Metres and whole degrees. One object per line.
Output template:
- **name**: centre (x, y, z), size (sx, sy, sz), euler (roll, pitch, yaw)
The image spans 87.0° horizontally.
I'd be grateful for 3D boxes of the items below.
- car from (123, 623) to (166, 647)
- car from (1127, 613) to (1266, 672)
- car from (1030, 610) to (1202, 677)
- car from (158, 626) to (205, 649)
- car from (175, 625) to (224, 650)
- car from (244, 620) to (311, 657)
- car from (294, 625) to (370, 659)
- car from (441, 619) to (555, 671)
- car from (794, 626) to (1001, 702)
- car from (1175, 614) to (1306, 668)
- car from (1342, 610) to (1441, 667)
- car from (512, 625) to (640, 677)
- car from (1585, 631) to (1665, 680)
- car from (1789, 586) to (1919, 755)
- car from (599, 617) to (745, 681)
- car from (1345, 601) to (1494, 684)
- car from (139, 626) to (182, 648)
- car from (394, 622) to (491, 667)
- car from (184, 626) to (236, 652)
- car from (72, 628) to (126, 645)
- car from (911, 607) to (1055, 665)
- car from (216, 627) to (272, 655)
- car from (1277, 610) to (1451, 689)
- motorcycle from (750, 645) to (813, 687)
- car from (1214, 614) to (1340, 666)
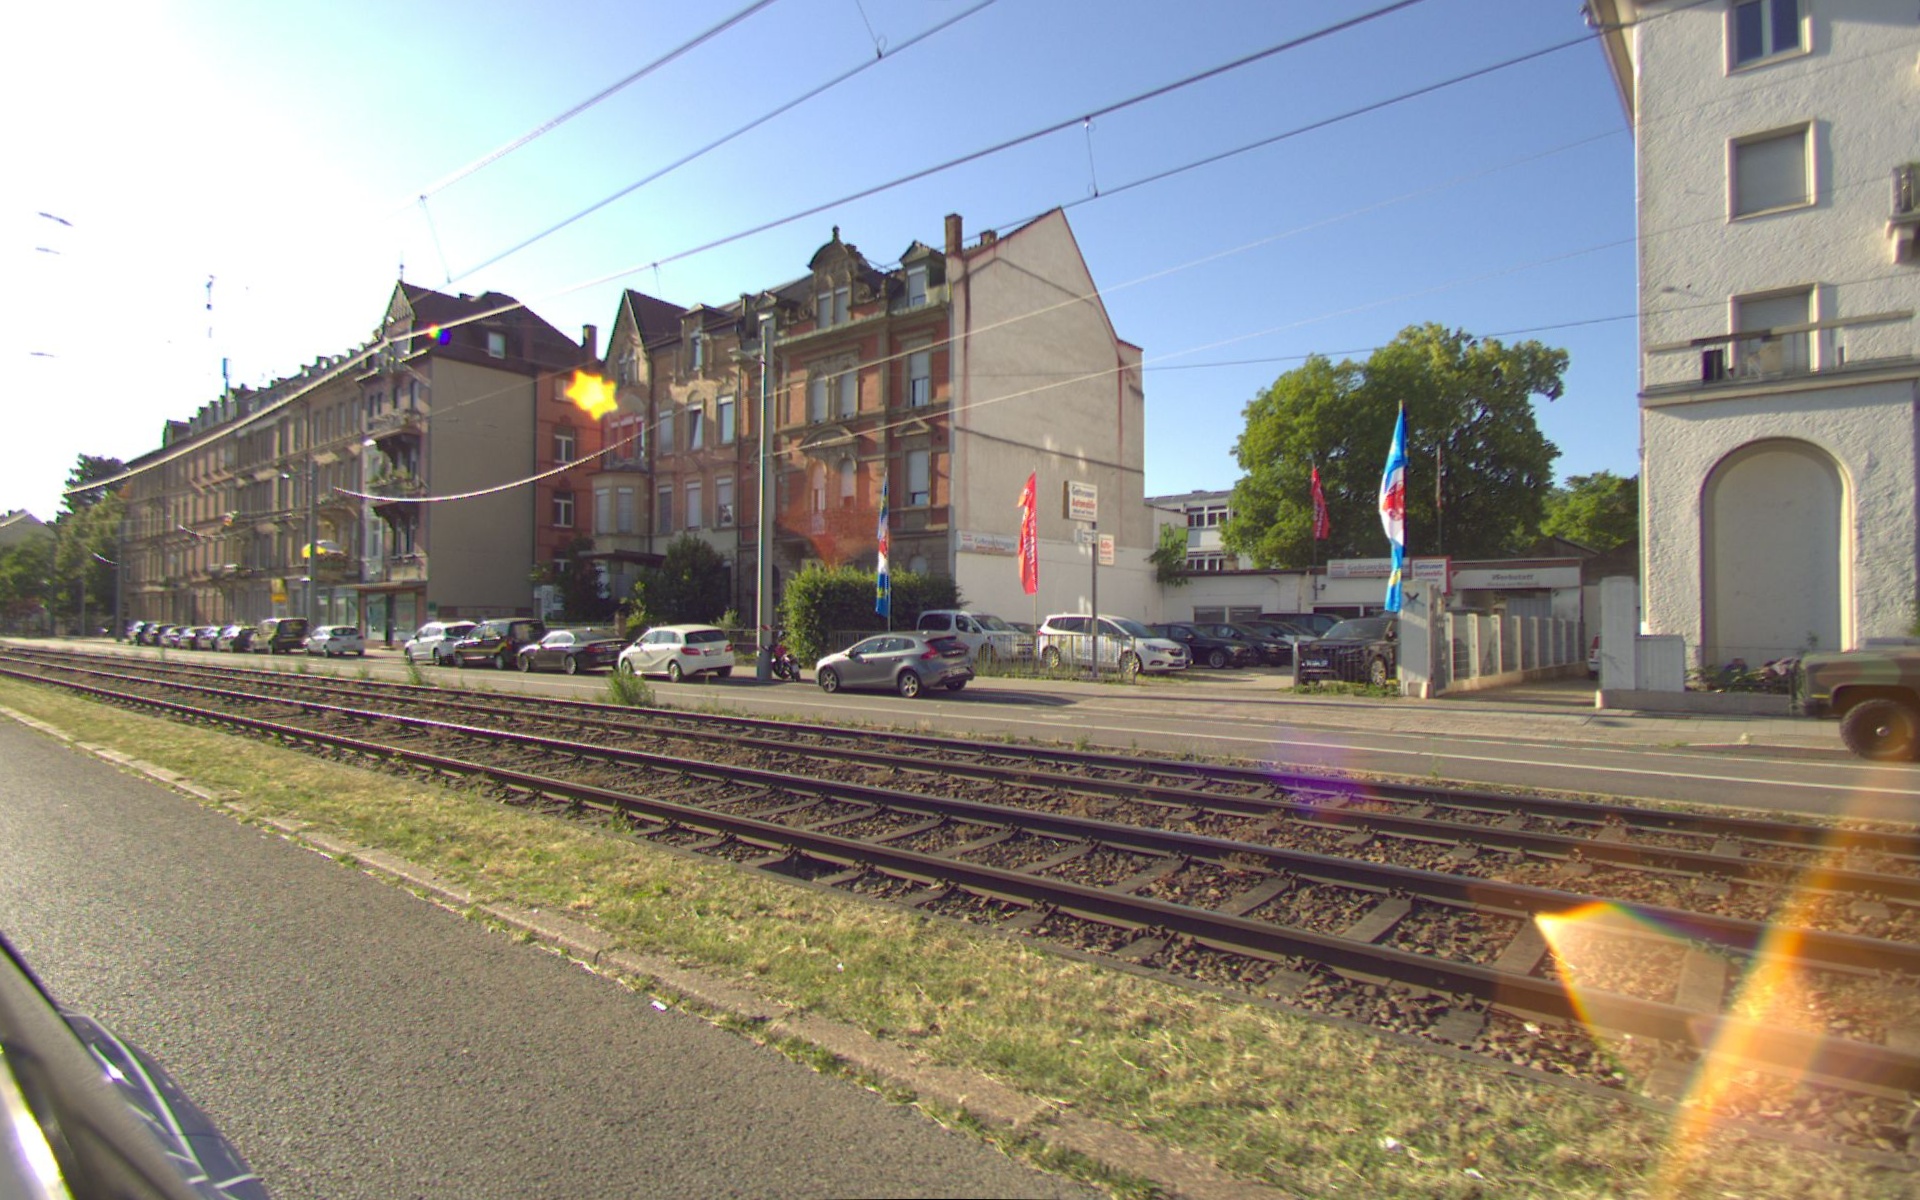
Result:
- **car**: centre (-59.569, 2.501, 73.923), size (4.630, 1.655, 1.775), euler (-1, 0, 43)
- **car**: centre (7.601, 1.310, 32.724), size (4.001, 1.698, 1.904), euler (0, 1, 44)
- **car**: centre (4.372, 1.191, 28.777), size (4.563, 1.668, 1.883), euler (1, -1, 44)
- **car**: centre (-51.750, 2.450, 67.214), size (4.193, 1.457, 1.643), euler (-1, 0, 40)
- **car**: centre (-48.374, 2.358, 64.376), size (3.978, 1.457, 1.643), euler (-1, 0, 40)
- **car**: centre (-36.328, 2.015, 53.799), size (4.723, 1.821, 1.643), euler (-1, 0, 39)
- **car**: centre (-31.055, 2.041, 49.975), size (4.624, 1.550, 1.901), euler (-1, -1, 41)
- **car**: centre (-17.260, 1.651, 37.753), size (4.489, 1.794, 1.903), euler (-1, -1, 36)
- **car**: centre (-1.551, 1.438, 24.029), size (4.836, 1.471, 1.902), euler (-1, 3, 39)
- **car**: centre (9.717, 1.363, 35.247), size (4.001, 1.698, 1.904), euler (0, 1, 44)
- **car**: centre (15.459, 1.368, 36.170), size (1.939, 1.900, 3.942), euler (0, -2, 44)
- **car**: centre (-12.926, 1.639, 33.892), size (4.838, 1.572, 1.901), euler (-1, 0, 40)
- **car**: centre (21.944, 1.795, 33.348), size (1.798, 1.522, 3.947), euler (-1, -3, 39)
- **car**: centre (13.396, 0.811, 11.857), size (5.590, 2.025, 2.055), euler (-1, 0, 42)
- **car**: centre (-8.634, 1.401, 30.092), size (4.841, 1.707, 1.900), euler (-1, -1, 43)
- **car**: centre (12.126, 1.105, 26.619), size (4.020, 2.018, 1.991), euler (1, -3, -40)
- **car**: centre (-56.139, 2.559, 71.041), size (3.762, 1.457, 1.643), euler (-1, 0, 40)
- **car**: centre (-21.036, 1.783, 41.053), size (4.624, 1.696, 1.901), euler (-2, -2, 41)
- **car**: centre (-44.928, 2.290, 60.587), size (3.978, 1.457, 1.643), euler (-1, 0, 40)
- **car**: centre (-88.584, 3.772, 104.134), size (3.931, 1.521, 1.806), euler (-1, 1, -29)
- **car**: centre (0.672, 1.122, 32.699), size (4.563, 1.668, 1.883), euler (1, -1, 44)
- **car**: centre (-40.476, 2.298, 57.209), size (3.978, 1.457, 1.643), euler (-1, 0, 40)
- **car**: centre (9.259, 1.125, 23.071), size (4.076, 1.646, 1.954), euler (2, -4, -40)
- **motorcycle**: centre (-4.844, 1.768, 27.379), size (0.815, 0.961, 2.157), euler (-1, 1, -36)
- **car**: centre (11.583, 1.420, 37.151), size (4.001, 1.698, 1.904), euler (0, 1, 44)
